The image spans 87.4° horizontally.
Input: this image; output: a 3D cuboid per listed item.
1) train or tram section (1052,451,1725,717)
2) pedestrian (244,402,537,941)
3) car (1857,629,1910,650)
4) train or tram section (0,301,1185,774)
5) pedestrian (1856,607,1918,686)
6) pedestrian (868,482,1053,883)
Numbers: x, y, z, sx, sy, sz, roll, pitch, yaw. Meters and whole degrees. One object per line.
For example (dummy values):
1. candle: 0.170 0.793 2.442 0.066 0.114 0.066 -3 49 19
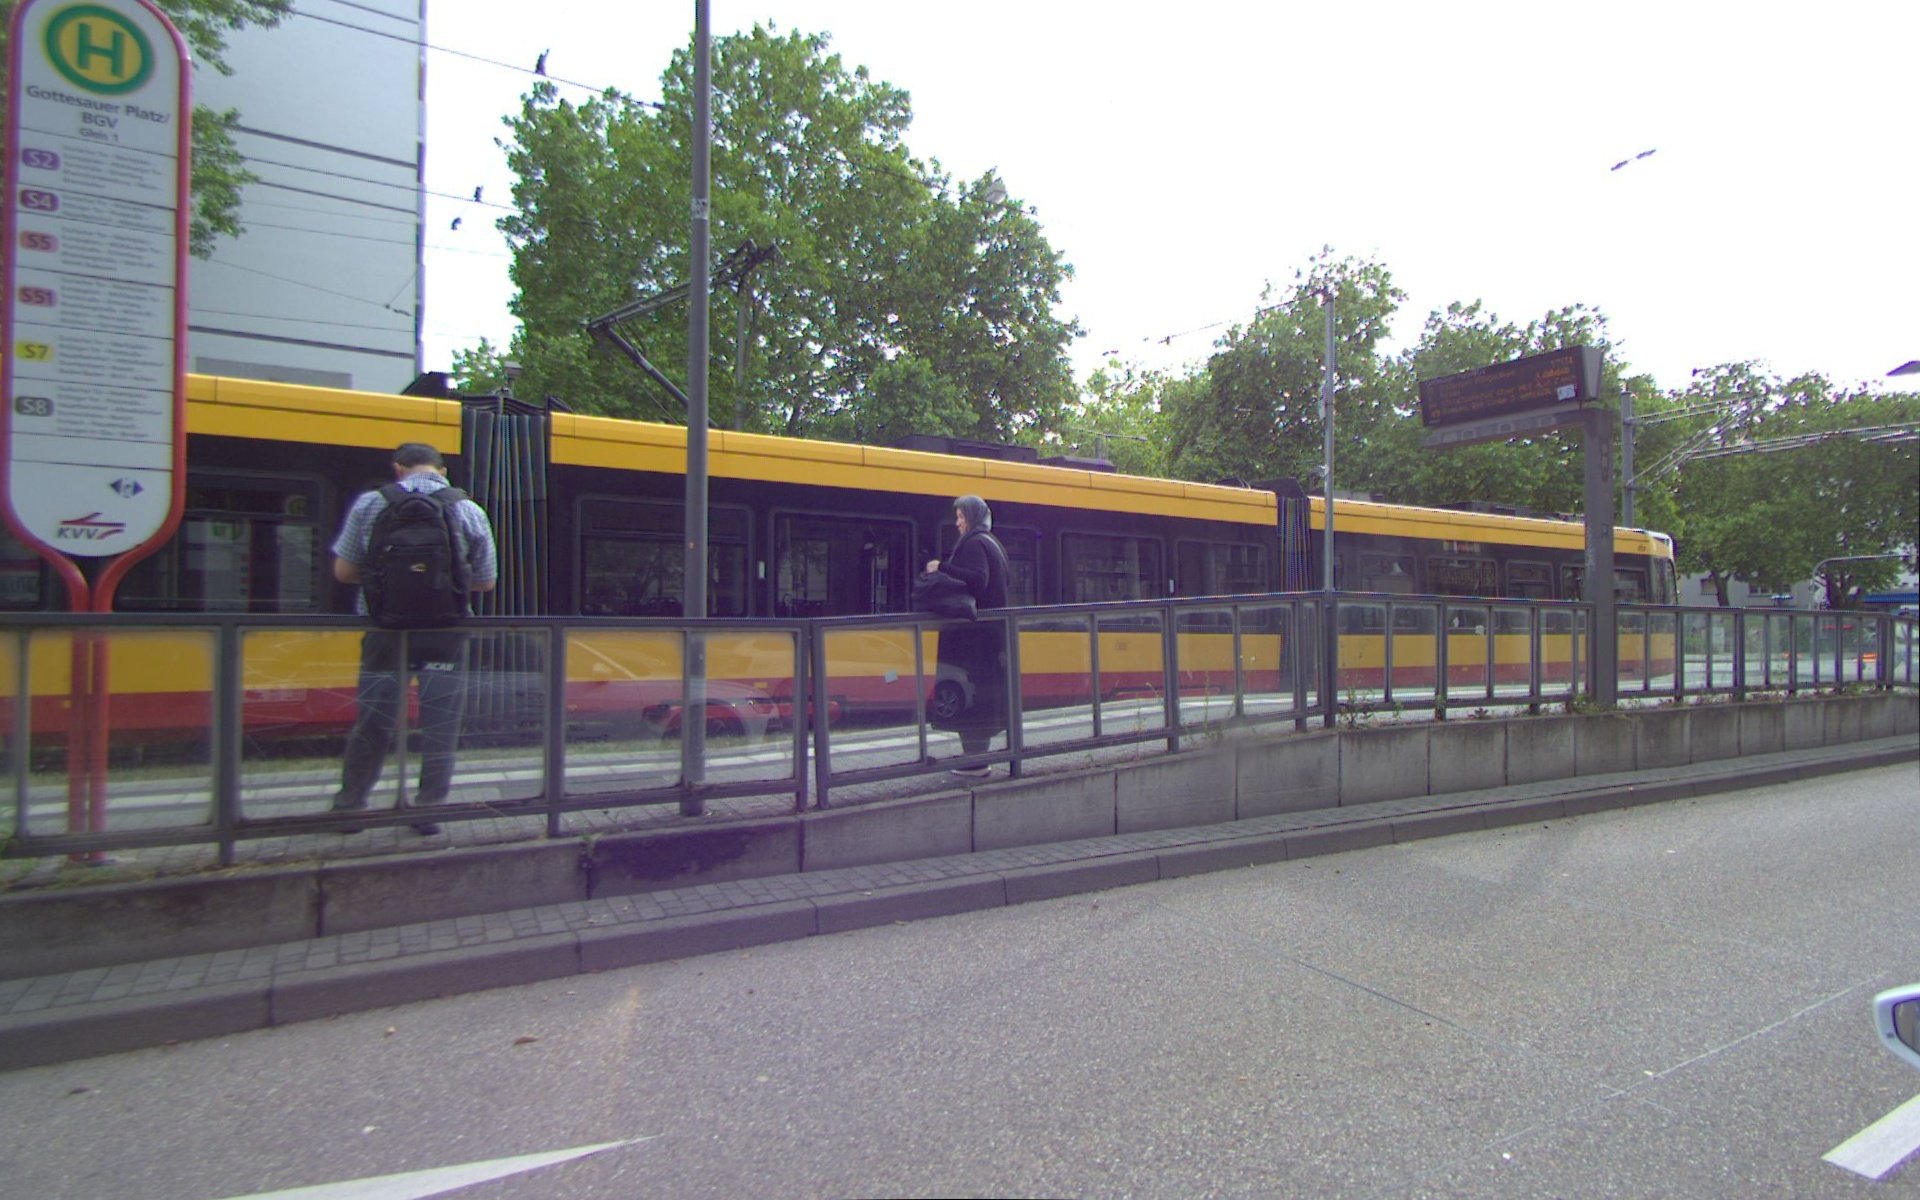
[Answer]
1. train or tram section: 9.028 -0.049 19.048 15.664 3.636 3.045 2 0 -31
2. pedestrian: -2.336 0.283 4.228 0.803 2.040 0.754 1 0 -7
3. car: 72.052 3.109 78.365 3.953 1.550 1.984 1 0 -30
4. train or tram section: -4.212 -0.375 11.198 15.117 3.579 3.045 2 0 -31
5. pedestrian: 22.293 1.098 24.176 0.999 1.837 0.582 1 0 38
6. pedestrian: 0.023 0.417 5.629 0.741 2.040 0.818 1 0 23
